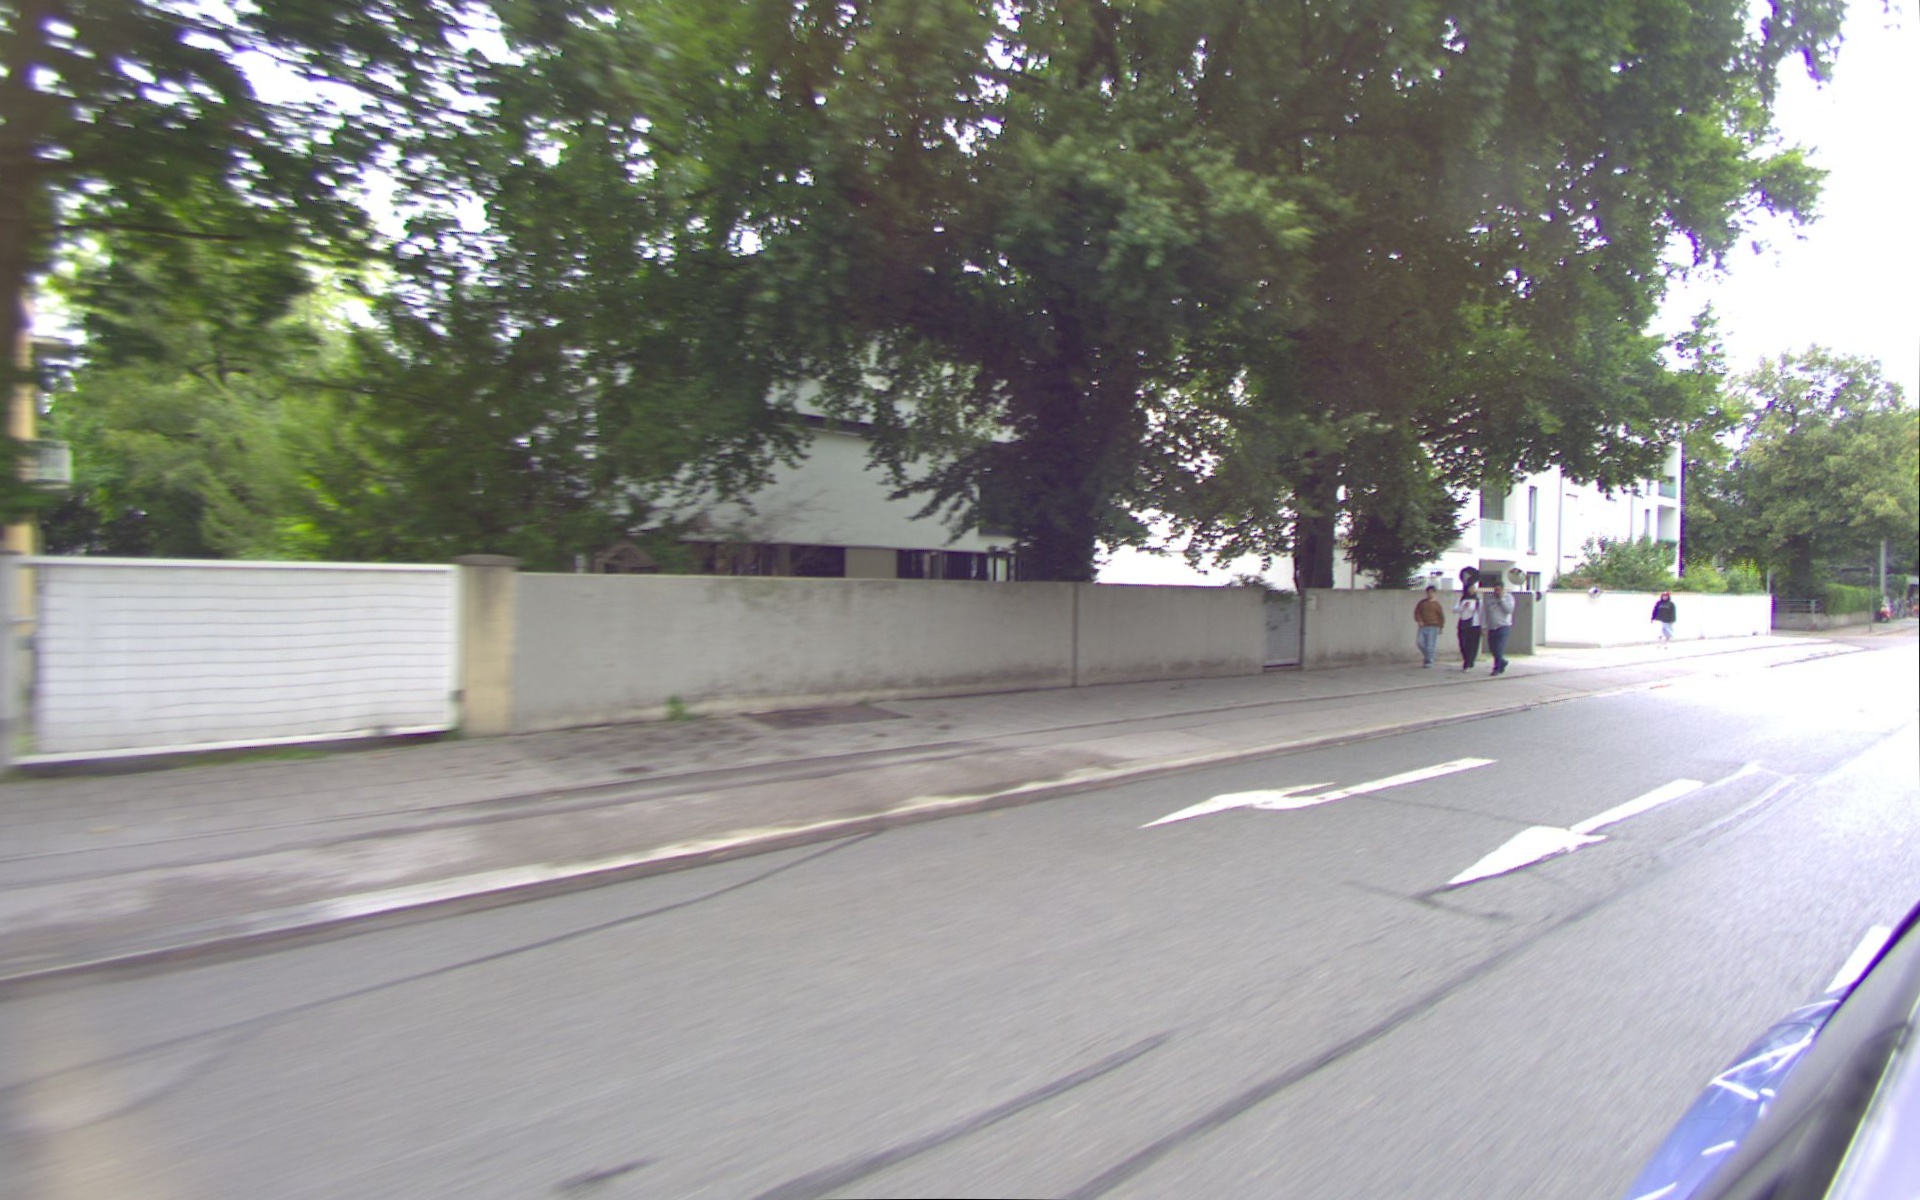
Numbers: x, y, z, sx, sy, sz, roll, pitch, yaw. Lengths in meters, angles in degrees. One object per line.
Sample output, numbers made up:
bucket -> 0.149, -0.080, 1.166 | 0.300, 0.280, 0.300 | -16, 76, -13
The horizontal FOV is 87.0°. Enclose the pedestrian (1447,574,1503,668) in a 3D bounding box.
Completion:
pedestrian -> 9.773, 0.390, 19.206 | 0.716, 1.713, 0.667 | 0, 3, -41

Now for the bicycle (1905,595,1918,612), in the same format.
bicycle -> 63.263, 0.216, 67.263 | 0.488, 1.113, 1.610 | 1, 1, 39

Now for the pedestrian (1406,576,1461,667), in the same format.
pedestrian -> 9.259, 0.405, 19.799 | 0.753, 1.726, 0.667 | 0, 3, -41

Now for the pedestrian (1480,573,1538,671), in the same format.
pedestrian -> 10.178, 0.395, 18.752 | 0.716, 1.743, 0.667 | 0, 3, -41

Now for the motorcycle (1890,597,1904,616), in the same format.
motorcycle -> 57.720, 0.392, 62.360 | 0.494, 1.156, 1.610 | 1, 1, 39

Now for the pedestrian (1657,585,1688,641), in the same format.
pedestrian -> 20.819, 0.378, 29.573 | 0.716, 1.600, 0.529 | 0, 3, -41
